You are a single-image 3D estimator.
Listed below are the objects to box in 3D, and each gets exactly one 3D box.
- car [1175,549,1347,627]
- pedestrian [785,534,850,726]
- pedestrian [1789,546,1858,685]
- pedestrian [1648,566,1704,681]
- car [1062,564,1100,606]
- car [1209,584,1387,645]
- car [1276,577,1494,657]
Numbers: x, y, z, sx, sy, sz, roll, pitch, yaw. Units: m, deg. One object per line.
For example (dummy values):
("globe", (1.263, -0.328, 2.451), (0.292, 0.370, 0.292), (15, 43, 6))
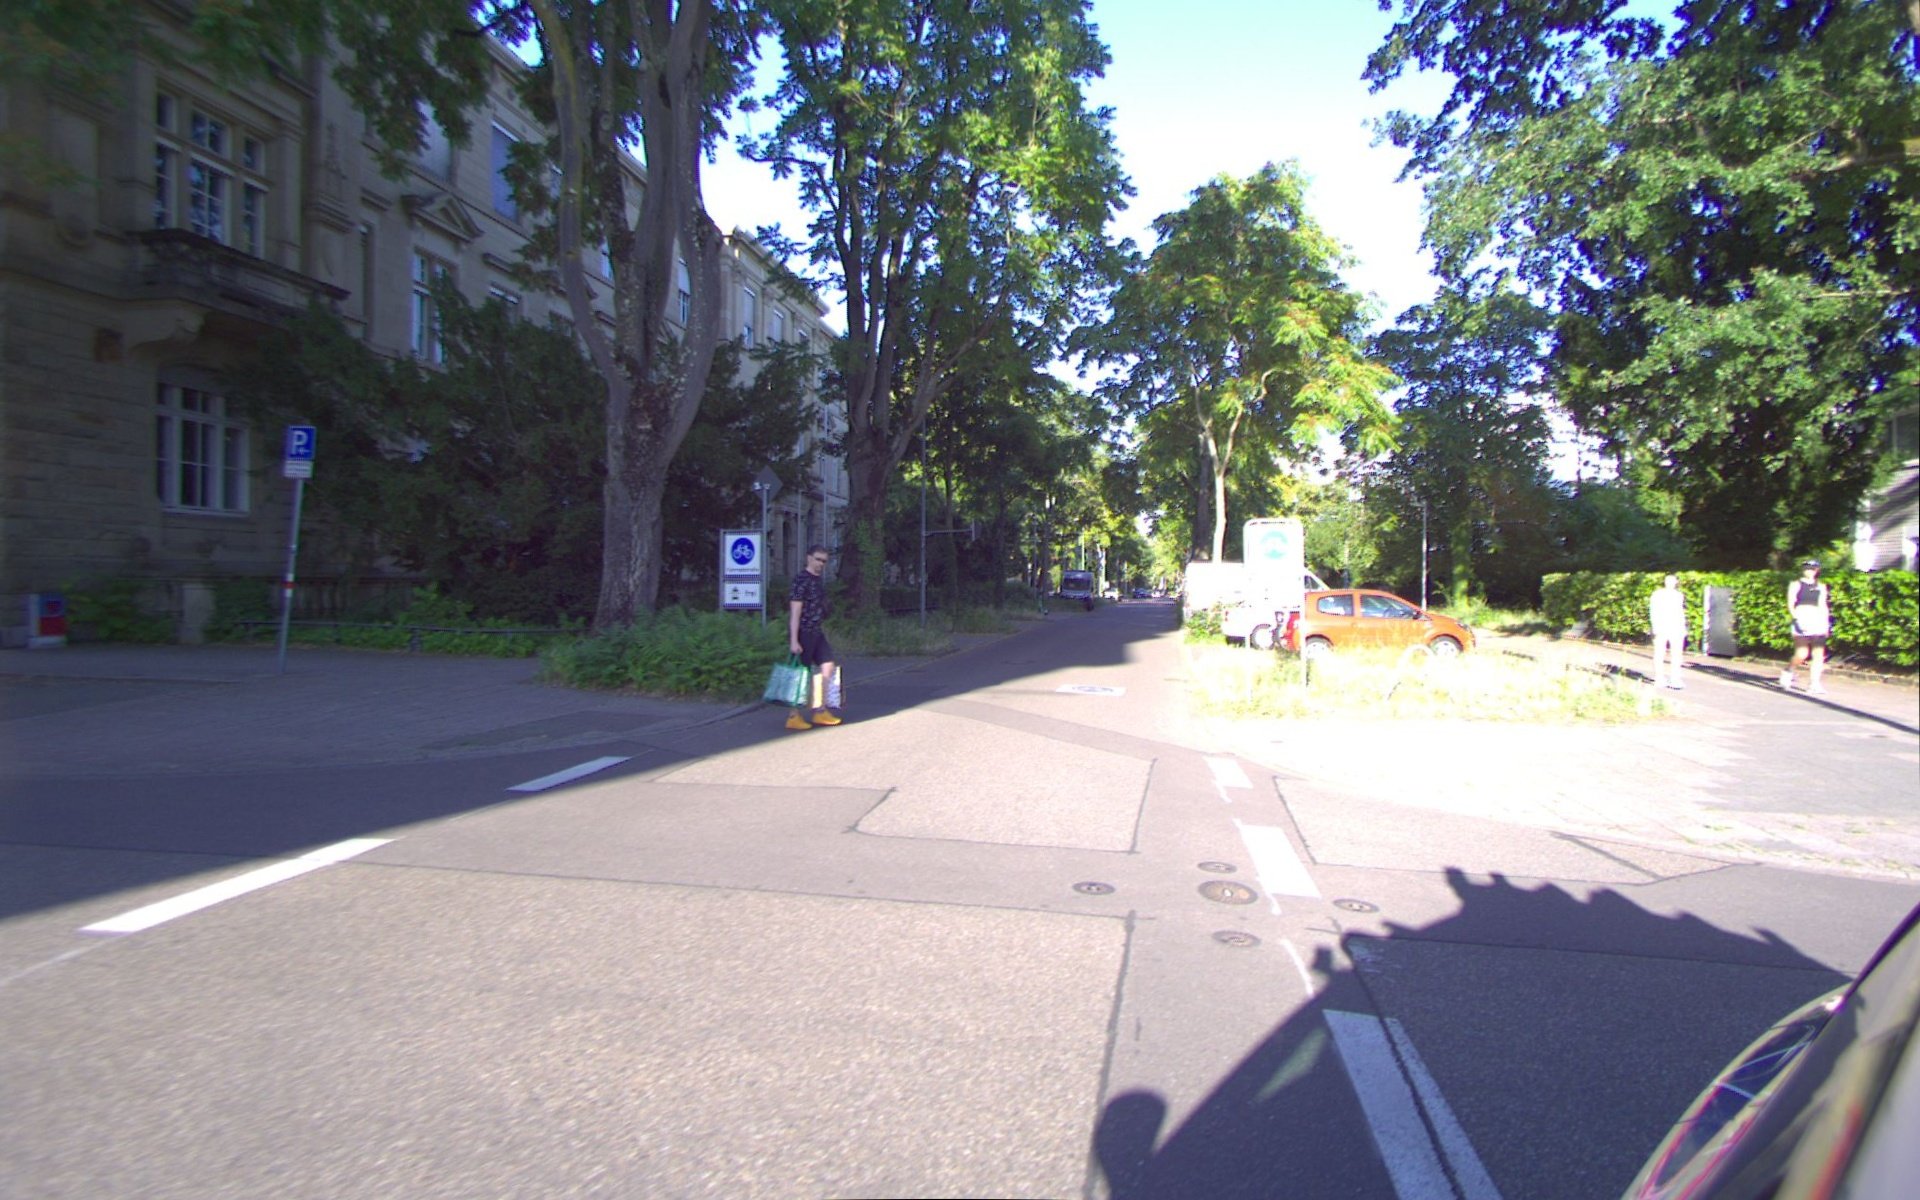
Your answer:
("car", (10.964, -0.470, 37.334), (5.813, 2.734, 2.215), (1, 1, 10))
("pedestrian", (-1.515, 0.294, 10.665), (0.601, 1.942, 0.724), (1, 1, -13))
("pedestrian", (11.495, 0.191, 13.486), (0.429, 1.797, 0.663), (1, 0, 15))
("pedestrian", (10.212, 0.321, 14.440), (0.429, 1.601, 0.663), (1, 0, 15))
("car", (7.780, -0.965, 64.959), (1.924, 2.631, 4.148), (1, 1, 14))
("car", (8.432, 0.335, 25.568), (3.993, 1.438, 1.714), (1, 1, 10))
("car", (8.248, 0.295, 19.948), (3.620, 1.438, 1.714), (1, 1, 9))
